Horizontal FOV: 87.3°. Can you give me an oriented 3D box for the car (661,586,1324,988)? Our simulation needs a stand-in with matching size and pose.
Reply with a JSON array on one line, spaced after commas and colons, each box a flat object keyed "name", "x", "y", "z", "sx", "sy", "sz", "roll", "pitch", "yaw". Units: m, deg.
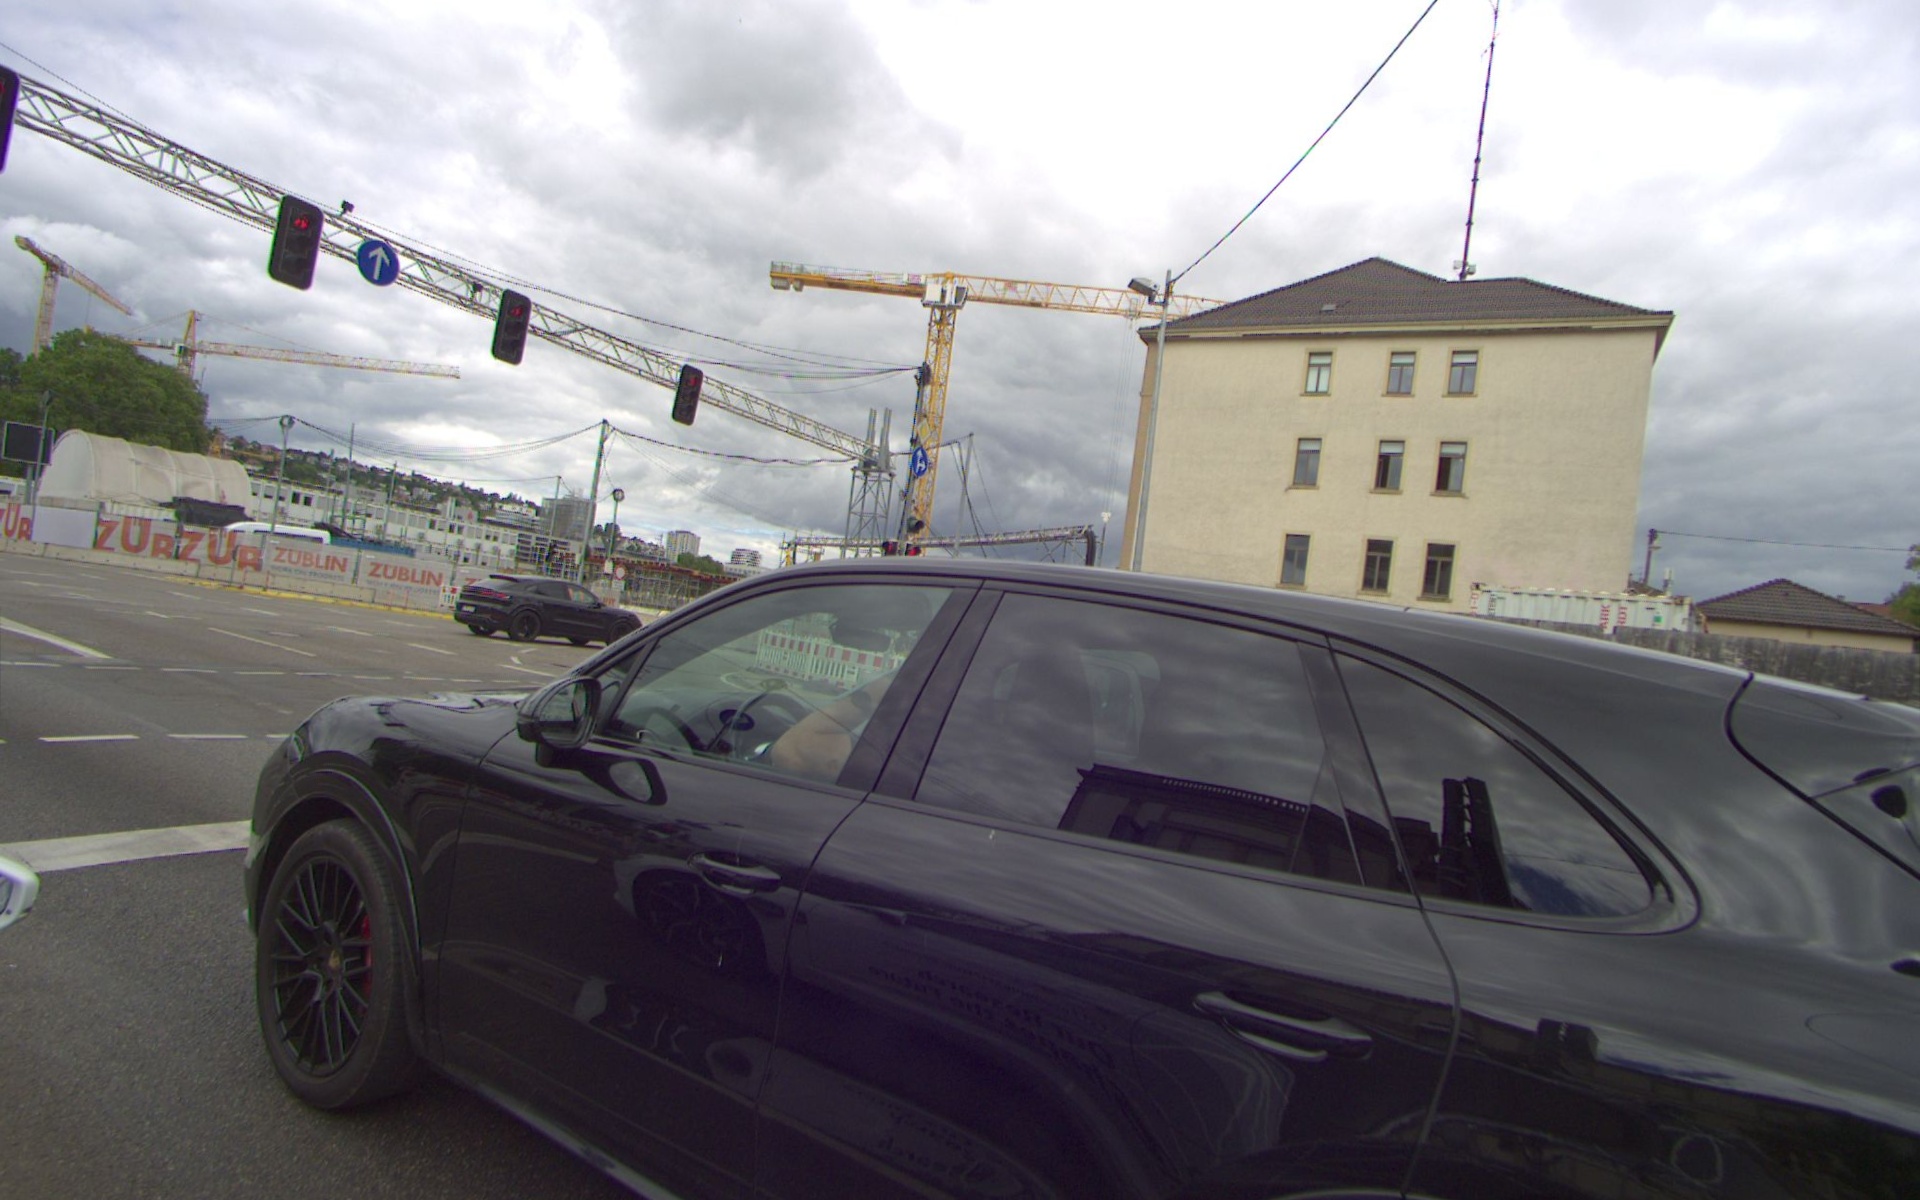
[{"name": "car", "x": 0.114, "y": 0.980, "z": 6.661, "sx": 3.934, "sy": 1.644, "sz": 1.679, "roll": 6, "pitch": -2, "yaw": 32}]

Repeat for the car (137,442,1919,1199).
[{"name": "car", "x": -0.049, "y": 0.674, "z": 2.664, "sx": 4.410, "sy": 1.735, "sz": 1.828, "roll": 6, "pitch": -2, "yaw": 32}]

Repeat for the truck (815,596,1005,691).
[{"name": "truck", "x": -1.717, "y": 1.888, "z": 40.375, "sx": 2.584, "sy": 2.835, "sz": 8.999, "roll": 7, "pitch": -2, "yaw": 33}]

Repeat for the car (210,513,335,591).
[{"name": "car", "x": -29.572, "y": -2.039, "z": 43.369, "sx": 1.660, "sy": 2.692, "sz": 3.979, "roll": 6, "pitch": -2, "yaw": 45}]

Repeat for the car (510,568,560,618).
[{"name": "car", "x": -19.161, "y": -0.320, "z": 45.297, "sx": 1.757, "sy": 1.976, "sz": 3.108, "roll": 8, "pitch": -2, "yaw": -25}]

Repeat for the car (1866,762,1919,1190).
[{"name": "car", "x": 5.765, "y": 1.681, "z": 2.567, "sx": 4.729, "sy": 1.644, "sz": 1.828, "roll": 6, "pitch": -2, "yaw": 32}]

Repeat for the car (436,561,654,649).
[{"name": "car", "x": -10.535, "y": 0.193, "z": 25.935, "sx": 1.988, "sy": 1.643, "sz": 4.816, "roll": 6, "pitch": -2, "yaw": 33}]
